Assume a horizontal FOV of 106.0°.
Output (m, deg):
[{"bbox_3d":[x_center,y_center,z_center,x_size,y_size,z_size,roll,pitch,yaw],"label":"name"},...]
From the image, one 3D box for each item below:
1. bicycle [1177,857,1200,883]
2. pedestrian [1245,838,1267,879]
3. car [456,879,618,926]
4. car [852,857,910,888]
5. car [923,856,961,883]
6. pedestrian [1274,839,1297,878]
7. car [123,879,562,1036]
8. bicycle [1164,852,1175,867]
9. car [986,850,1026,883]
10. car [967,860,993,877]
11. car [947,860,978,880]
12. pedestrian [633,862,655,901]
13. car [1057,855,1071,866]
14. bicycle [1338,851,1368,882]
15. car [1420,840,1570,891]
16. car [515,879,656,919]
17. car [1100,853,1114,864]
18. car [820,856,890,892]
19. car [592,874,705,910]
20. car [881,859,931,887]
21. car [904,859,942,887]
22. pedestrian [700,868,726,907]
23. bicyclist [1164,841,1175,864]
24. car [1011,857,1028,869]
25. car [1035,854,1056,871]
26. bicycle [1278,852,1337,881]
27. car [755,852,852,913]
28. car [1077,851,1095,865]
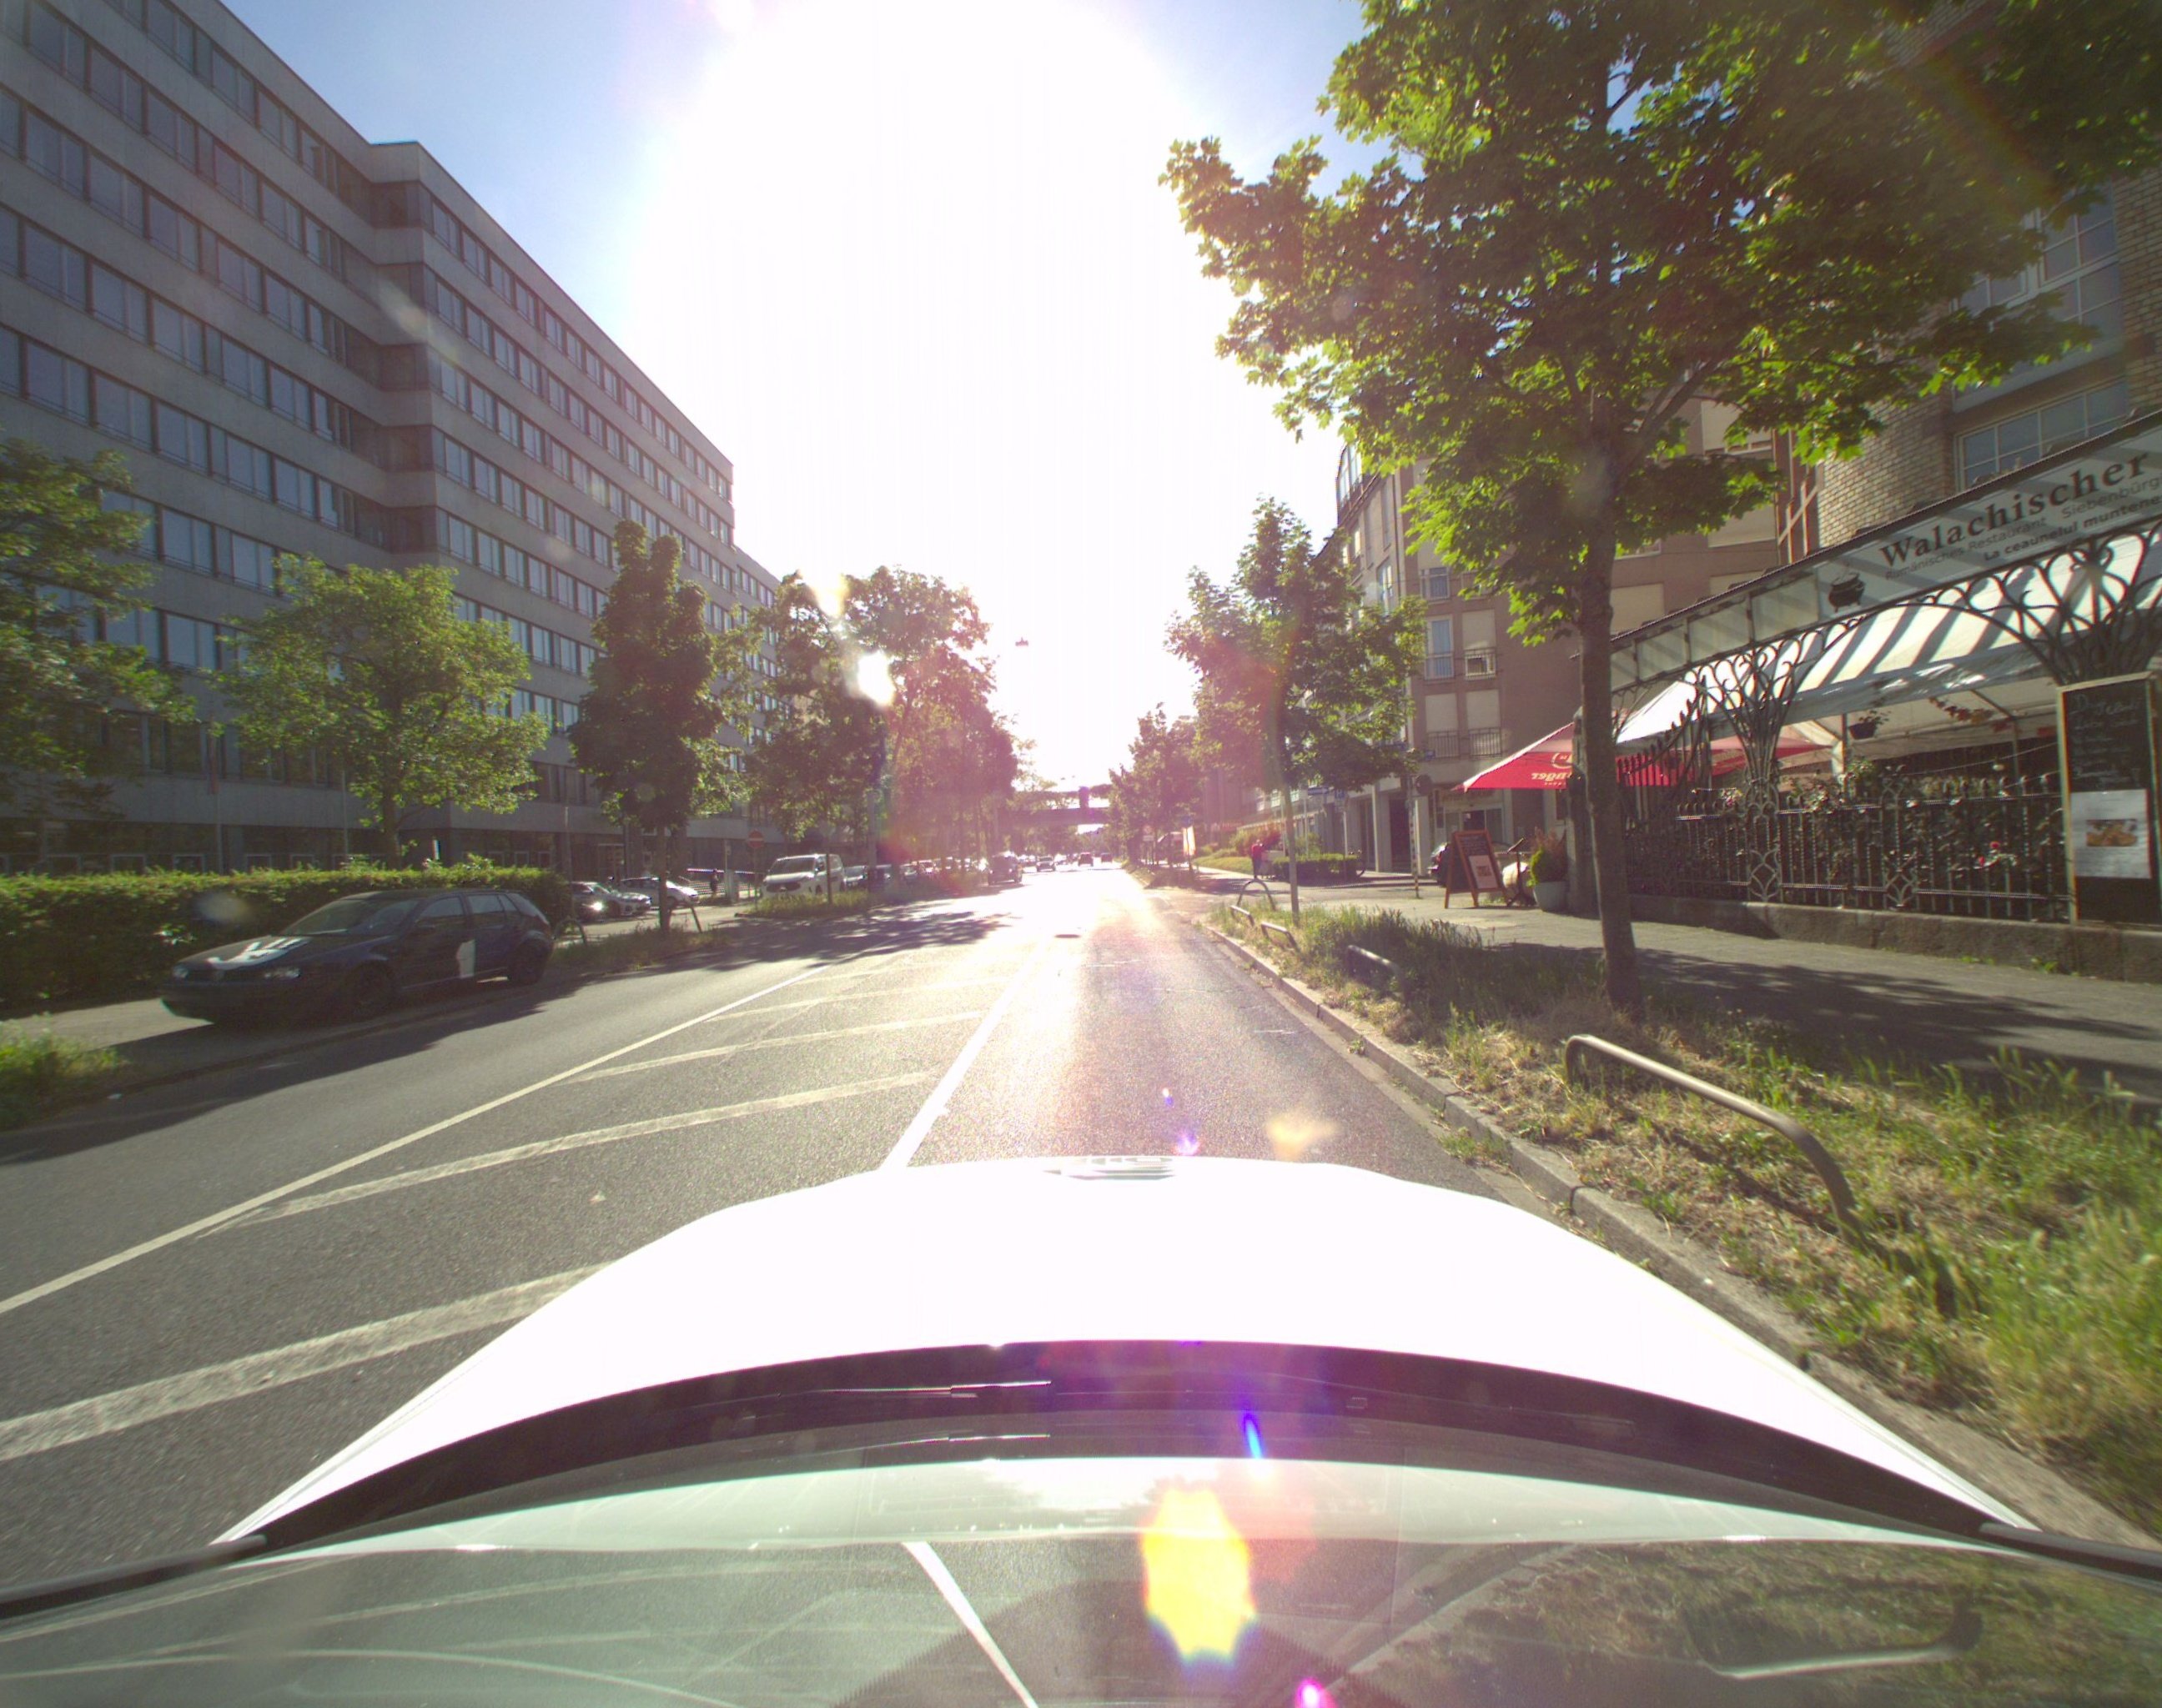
[{"bbox_3d":[4.696,0.681,35.442,0.586,1.066,2.032,-2,0,18],"label":"bicycle"},{"bbox_3d":[7.274,0.190,33.881,0.652,1.604,0.602,-5,-1,-5],"label":"pedestrian"},{"bbox_3d":[-19.813,1.761,29.778,4.647,1.513,2.012,-1,0,5],"label":"car"},{"bbox_3d":[-10.321,0.927,42.380,1.849,1.523,4.319,-1,0,1],"label":"car"},{"bbox_3d":[-9.944,1.079,58.580,1.849,1.850,4.562,-1,0,0],"label":"car"},{"bbox_3d":[8.678,0.195,34.529,0.652,1.604,0.602,-5,-1,-5],"label":"pedestrian"},{"bbox_3d":[-8.828,1.119,10.330,1.705,1.458,4.075,-1,0,3],"label":"car"},{"bbox_3d":[6.563,0.423,60.512,0.587,1.027,1.860,-2,-1,0],"label":"bicycle"},{"bbox_3d":[-4.534,0.724,49.874,1.850,1.825,4.609,-4,0,0],"label":"car"},{"bbox_3d":[-9.452,1.329,76.396,1.849,1.523,4.318,-1,0,0],"label":"car"},{"bbox_3d":[-9.680,1.267,66.636,1.849,1.568,3.873,-1,0,2],"label":"car"},{"bbox_3d":[-23.787,1.507,44.346,0.768,2.093,0.792,0,-1,3],"label":"pedestrian"},{"bbox_3d":[-2.371,0.868,113.987,1.849,1.440,4.318,-4,0,0],"label":"car"},{"bbox_3d":[10.370,0.444,31.107,0.681,1.027,2.209,-3,2,10],"label":"bicycle"},{"bbox_3d":[13.016,0.361,25.828,3.915,1.523,1.869,-1,0,14],"label":"car"},{"bbox_3d":[-19.971,1.814,32.934,4.589,1.442,1.941,-1,0,6],"label":"car"},{"bbox_3d":[3.858,0.682,120.352,1.848,1.523,4.322,-1,0,3],"label":"car"},{"bbox_3d":[-10.243,0.848,37.205,1.774,1.523,4.322,-1,0,3],"label":"car"},{"bbox_3d":[-20.278,1.756,38.303,4.293,1.523,1.861,-1,0,-2],"label":"car"},{"bbox_3d":[-10.208,1.069,47.780,1.848,1.523,4.066,-1,0,3],"label":"car"},{"bbox_3d":[-10.195,1.220,52.835,1.852,1.684,4.658,-1,0,-4],"label":"car"},{"bbox_3d":[-19.215,1.742,42.538,0.832,2.014,1.008,0,-1,1],"label":"pedestrian"},{"bbox_3d":[6.567,-0.113,60.531,0.665,1.695,0.889,-1,-1,1],"label":"bicyclist"},{"bbox_3d":[-8.272,1.181,109.980,1.849,1.523,4.077,-1,0,0],"label":"car"},{"bbox_3d":[-3.632,0.894,83.854,1.849,1.568,4.715,-3,0,1],"label":"car"},{"bbox_3d":[9.227,0.488,33.273,2.187,1.027,0.688,-3,2,3],"label":"bicycle"},{"bbox_3d":[-10.722,1.028,31.905,1.975,2.076,5.194,-4,0,-1],"label":"car"},{"bbox_3d":[0.605,0.469,93.898,1.978,1.600,4.140,-1,0,0],"label":"car"}]
